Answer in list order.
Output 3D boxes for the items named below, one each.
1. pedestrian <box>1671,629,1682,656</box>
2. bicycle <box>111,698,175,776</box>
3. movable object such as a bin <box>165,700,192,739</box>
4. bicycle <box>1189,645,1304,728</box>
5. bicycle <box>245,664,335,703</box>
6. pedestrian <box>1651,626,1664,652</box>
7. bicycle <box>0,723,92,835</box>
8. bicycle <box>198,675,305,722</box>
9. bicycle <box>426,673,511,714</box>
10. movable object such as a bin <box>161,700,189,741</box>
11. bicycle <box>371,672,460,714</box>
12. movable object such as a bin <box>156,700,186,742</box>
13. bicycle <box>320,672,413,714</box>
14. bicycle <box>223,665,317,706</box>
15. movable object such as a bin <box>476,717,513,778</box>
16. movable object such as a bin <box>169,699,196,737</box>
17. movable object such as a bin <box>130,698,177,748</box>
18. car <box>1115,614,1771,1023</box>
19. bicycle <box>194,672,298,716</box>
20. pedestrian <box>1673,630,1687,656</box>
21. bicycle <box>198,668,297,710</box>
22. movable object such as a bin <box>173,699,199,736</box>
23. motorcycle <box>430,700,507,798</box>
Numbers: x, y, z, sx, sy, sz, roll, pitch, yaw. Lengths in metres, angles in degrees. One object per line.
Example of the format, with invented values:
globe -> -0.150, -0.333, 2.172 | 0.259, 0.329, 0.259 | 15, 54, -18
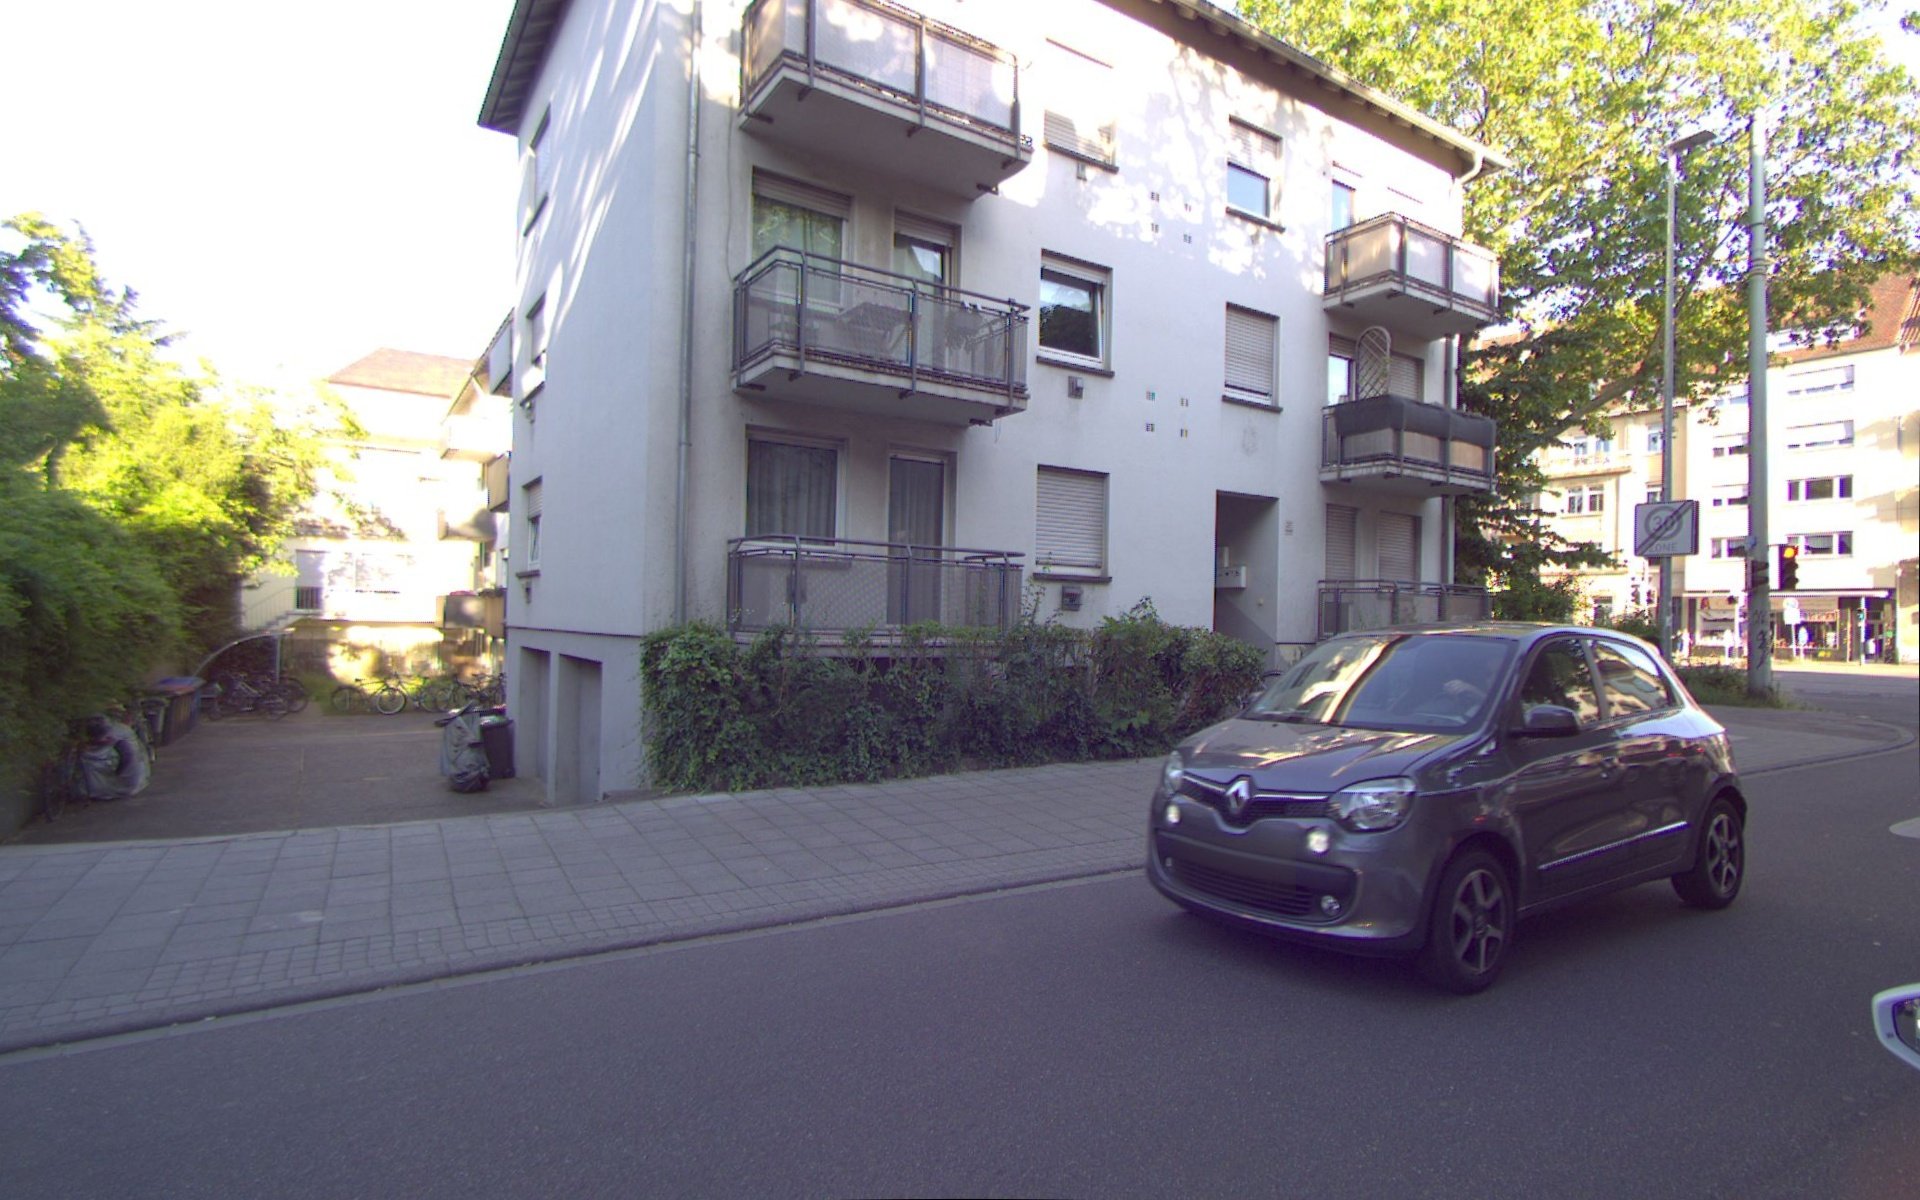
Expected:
pedestrian -> 41.445, 2.474, 58.088 | 0.467, 1.531, 0.429 | 0, -1, 41
bicycle -> -13.221, 2.182, 16.294 | 0.509, 1.033, 1.922 | 3, -1, -32
movable object such as a bin -> -16.023, 2.445, 20.596 | 0.371, 0.768, 0.361 | 2, -4, -30
bicycle -> 3.883, 1.154, 13.616 | 1.433, 0.988, 0.407 | 3, 0, 21
bicycle -> -19.019, 2.375, 28.565 | 2.045, 1.034, 0.564 | 4, 0, -30
pedestrian -> 40.604, 2.267, 58.467 | 0.558, 1.531, 0.499 | 0, -1, 41
bicycle -> -10.991, 2.106, 12.072 | 0.509, 1.033, 1.922 | 3, -1, -32
bicycle -> -17.276, 2.406, 24.551 | 2.045, 1.034, 0.637 | 4, 0, -30
bicycle -> -13.623, 2.603, 27.849 | 2.045, 1.034, 0.637 | 4, 0, -30
movable object such as a bin -> -15.824, 2.421, 20.254 | 0.377, 0.784, 0.361 | 2, -4, -30
bicycle -> -14.733, 2.527, 27.199 | 2.045, 1.034, 0.637 | 4, 0, -30
movable object such as a bin -> -15.630, 2.389, 19.895 | 0.393, 0.784, 0.361 | 2, -4, -30
bicycle -> -15.694, 2.464, 26.614 | 2.045, 1.034, 0.637 | 4, 0, -30
bicycle -> -18.995, 2.371, 27.693 | 2.045, 1.034, 0.611 | 4, 0, -30
movable object such as a bin -> -7.501, 2.365, 16.184 | 0.428, 0.899, 0.720 | 1, -2, -34
movable object such as a bin -> -16.209, 2.456, 20.945 | 0.362, 0.768, 0.361 | 2, -4, -30
movable object such as a bin -> -14.951, 2.273, 18.621 | 0.570, 0.891, 0.491 | 2, -4, -30
car -> 2.703, 0.895, 5.432 | 3.554, 1.521, 1.606 | 2, -3, -34
bicycle -> -18.028, 2.388, 25.429 | 2.045, 1.034, 0.568 | 4, 0, -30
pedestrian -> 42.013, 2.496, 58.582 | 0.531, 1.531, 0.505 | 1, -1, -34
bicycle -> -18.861, 2.369, 26.655 | 2.045, 1.034, 0.611 | 4, 0, -30
movable object such as a bin -> -16.403, 2.486, 21.285 | 0.362, 0.768, 0.361 | 2, -4, -30
motorcycle -> -7.375, 2.189, 15.042 | 0.751, 1.268, 1.577 | 1, -2, -36
